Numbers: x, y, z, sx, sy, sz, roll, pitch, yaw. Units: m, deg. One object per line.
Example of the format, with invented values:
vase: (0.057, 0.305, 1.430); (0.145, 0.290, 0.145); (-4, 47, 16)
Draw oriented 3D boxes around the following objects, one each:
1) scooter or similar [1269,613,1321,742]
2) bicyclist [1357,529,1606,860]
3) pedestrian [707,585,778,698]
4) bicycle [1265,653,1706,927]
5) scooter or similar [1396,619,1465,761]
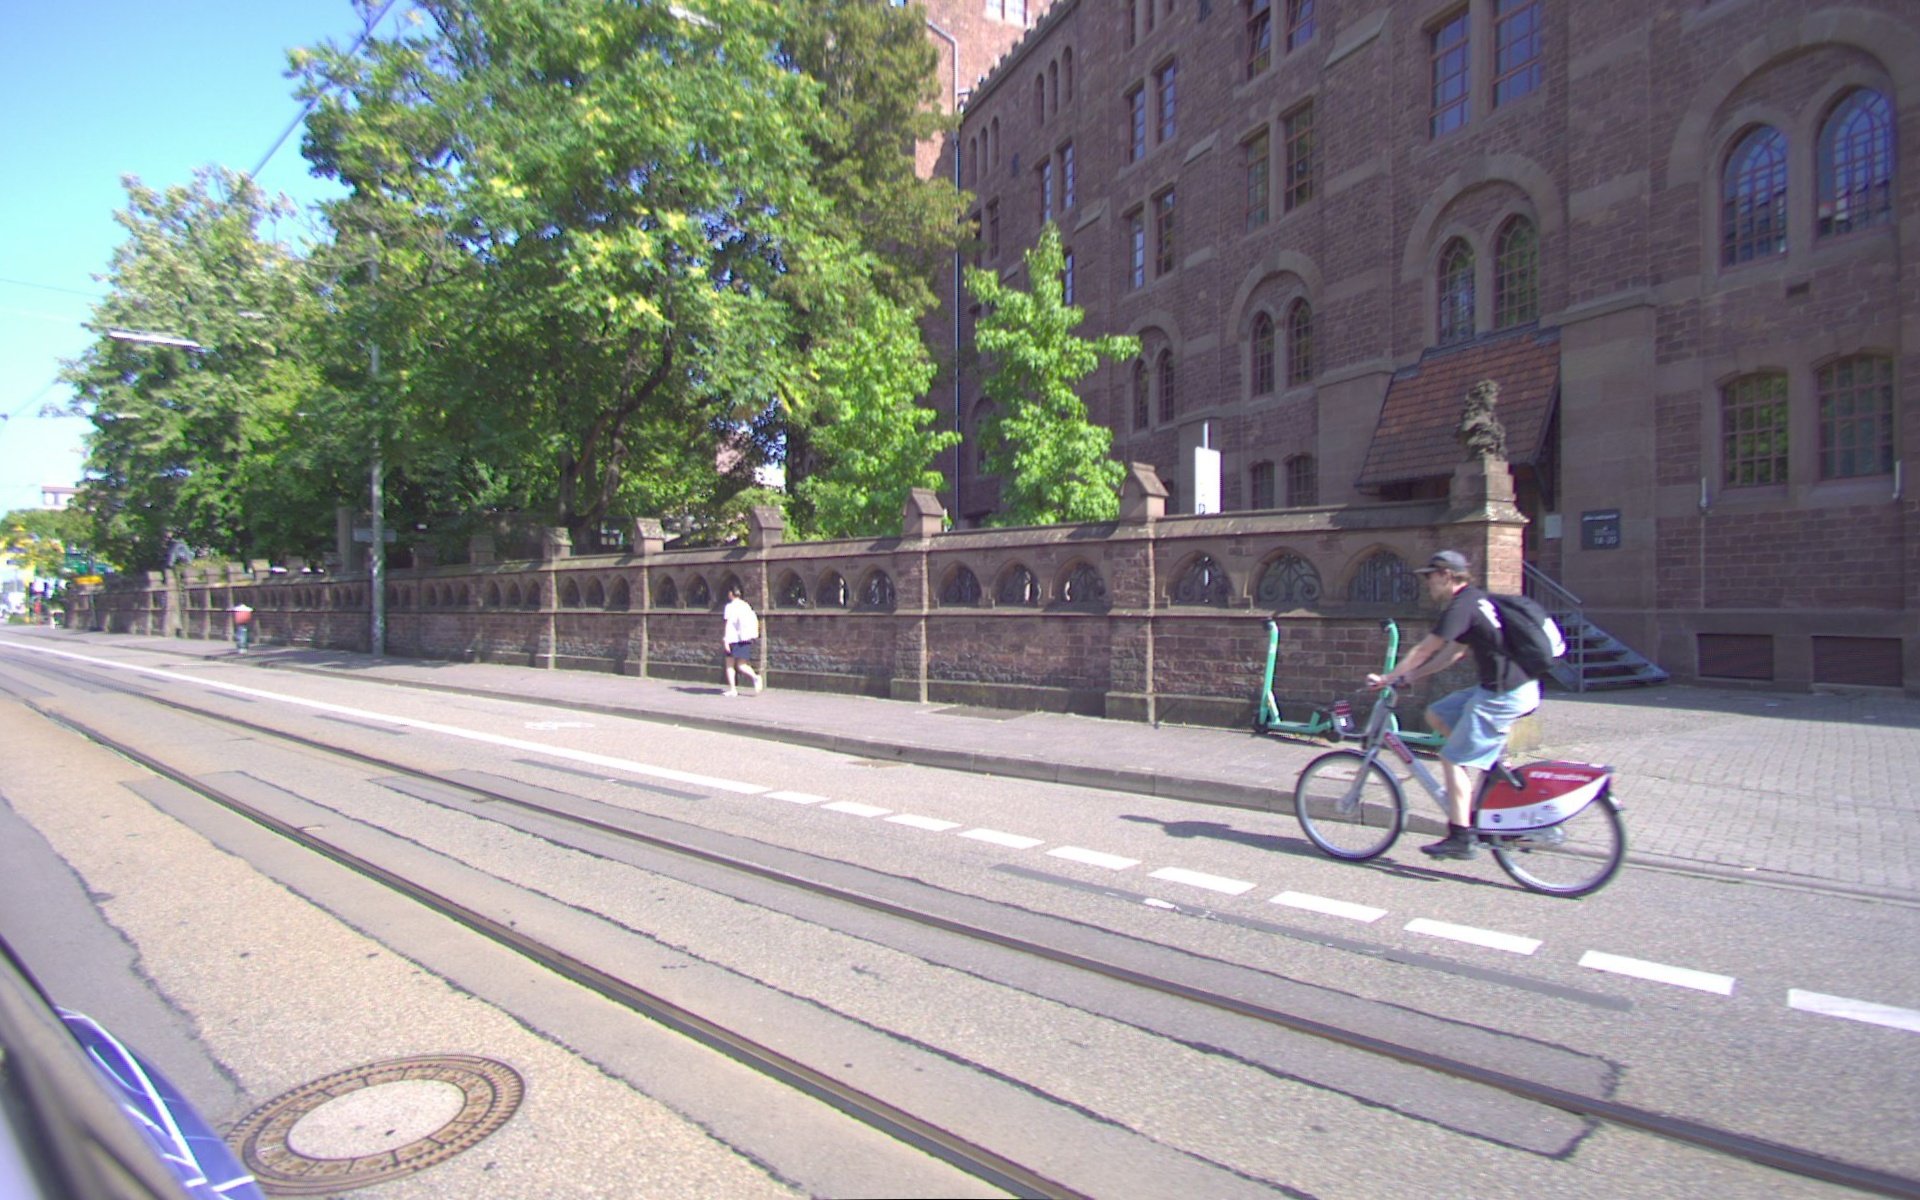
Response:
scooter or similar: (3.225, 0.723, 9.773); (0.280, 1.157, 0.816); (0, 2, 5)
bicyclist: (2.821, 0.462, 5.491); (1.086, 1.592, 0.690); (0, -2, 39)
pedestrian: (-3.194, 0.593, 14.856); (0.775, 1.601, 0.708); (0, 0, 41)
bicycle: (2.778, 0.906, 5.508); (2.036, 1.167, 0.690); (0, -2, 40)
scooter or similar: (4.153, 0.768, 8.960); (0.280, 1.157, 0.816); (0, 2, 5)
